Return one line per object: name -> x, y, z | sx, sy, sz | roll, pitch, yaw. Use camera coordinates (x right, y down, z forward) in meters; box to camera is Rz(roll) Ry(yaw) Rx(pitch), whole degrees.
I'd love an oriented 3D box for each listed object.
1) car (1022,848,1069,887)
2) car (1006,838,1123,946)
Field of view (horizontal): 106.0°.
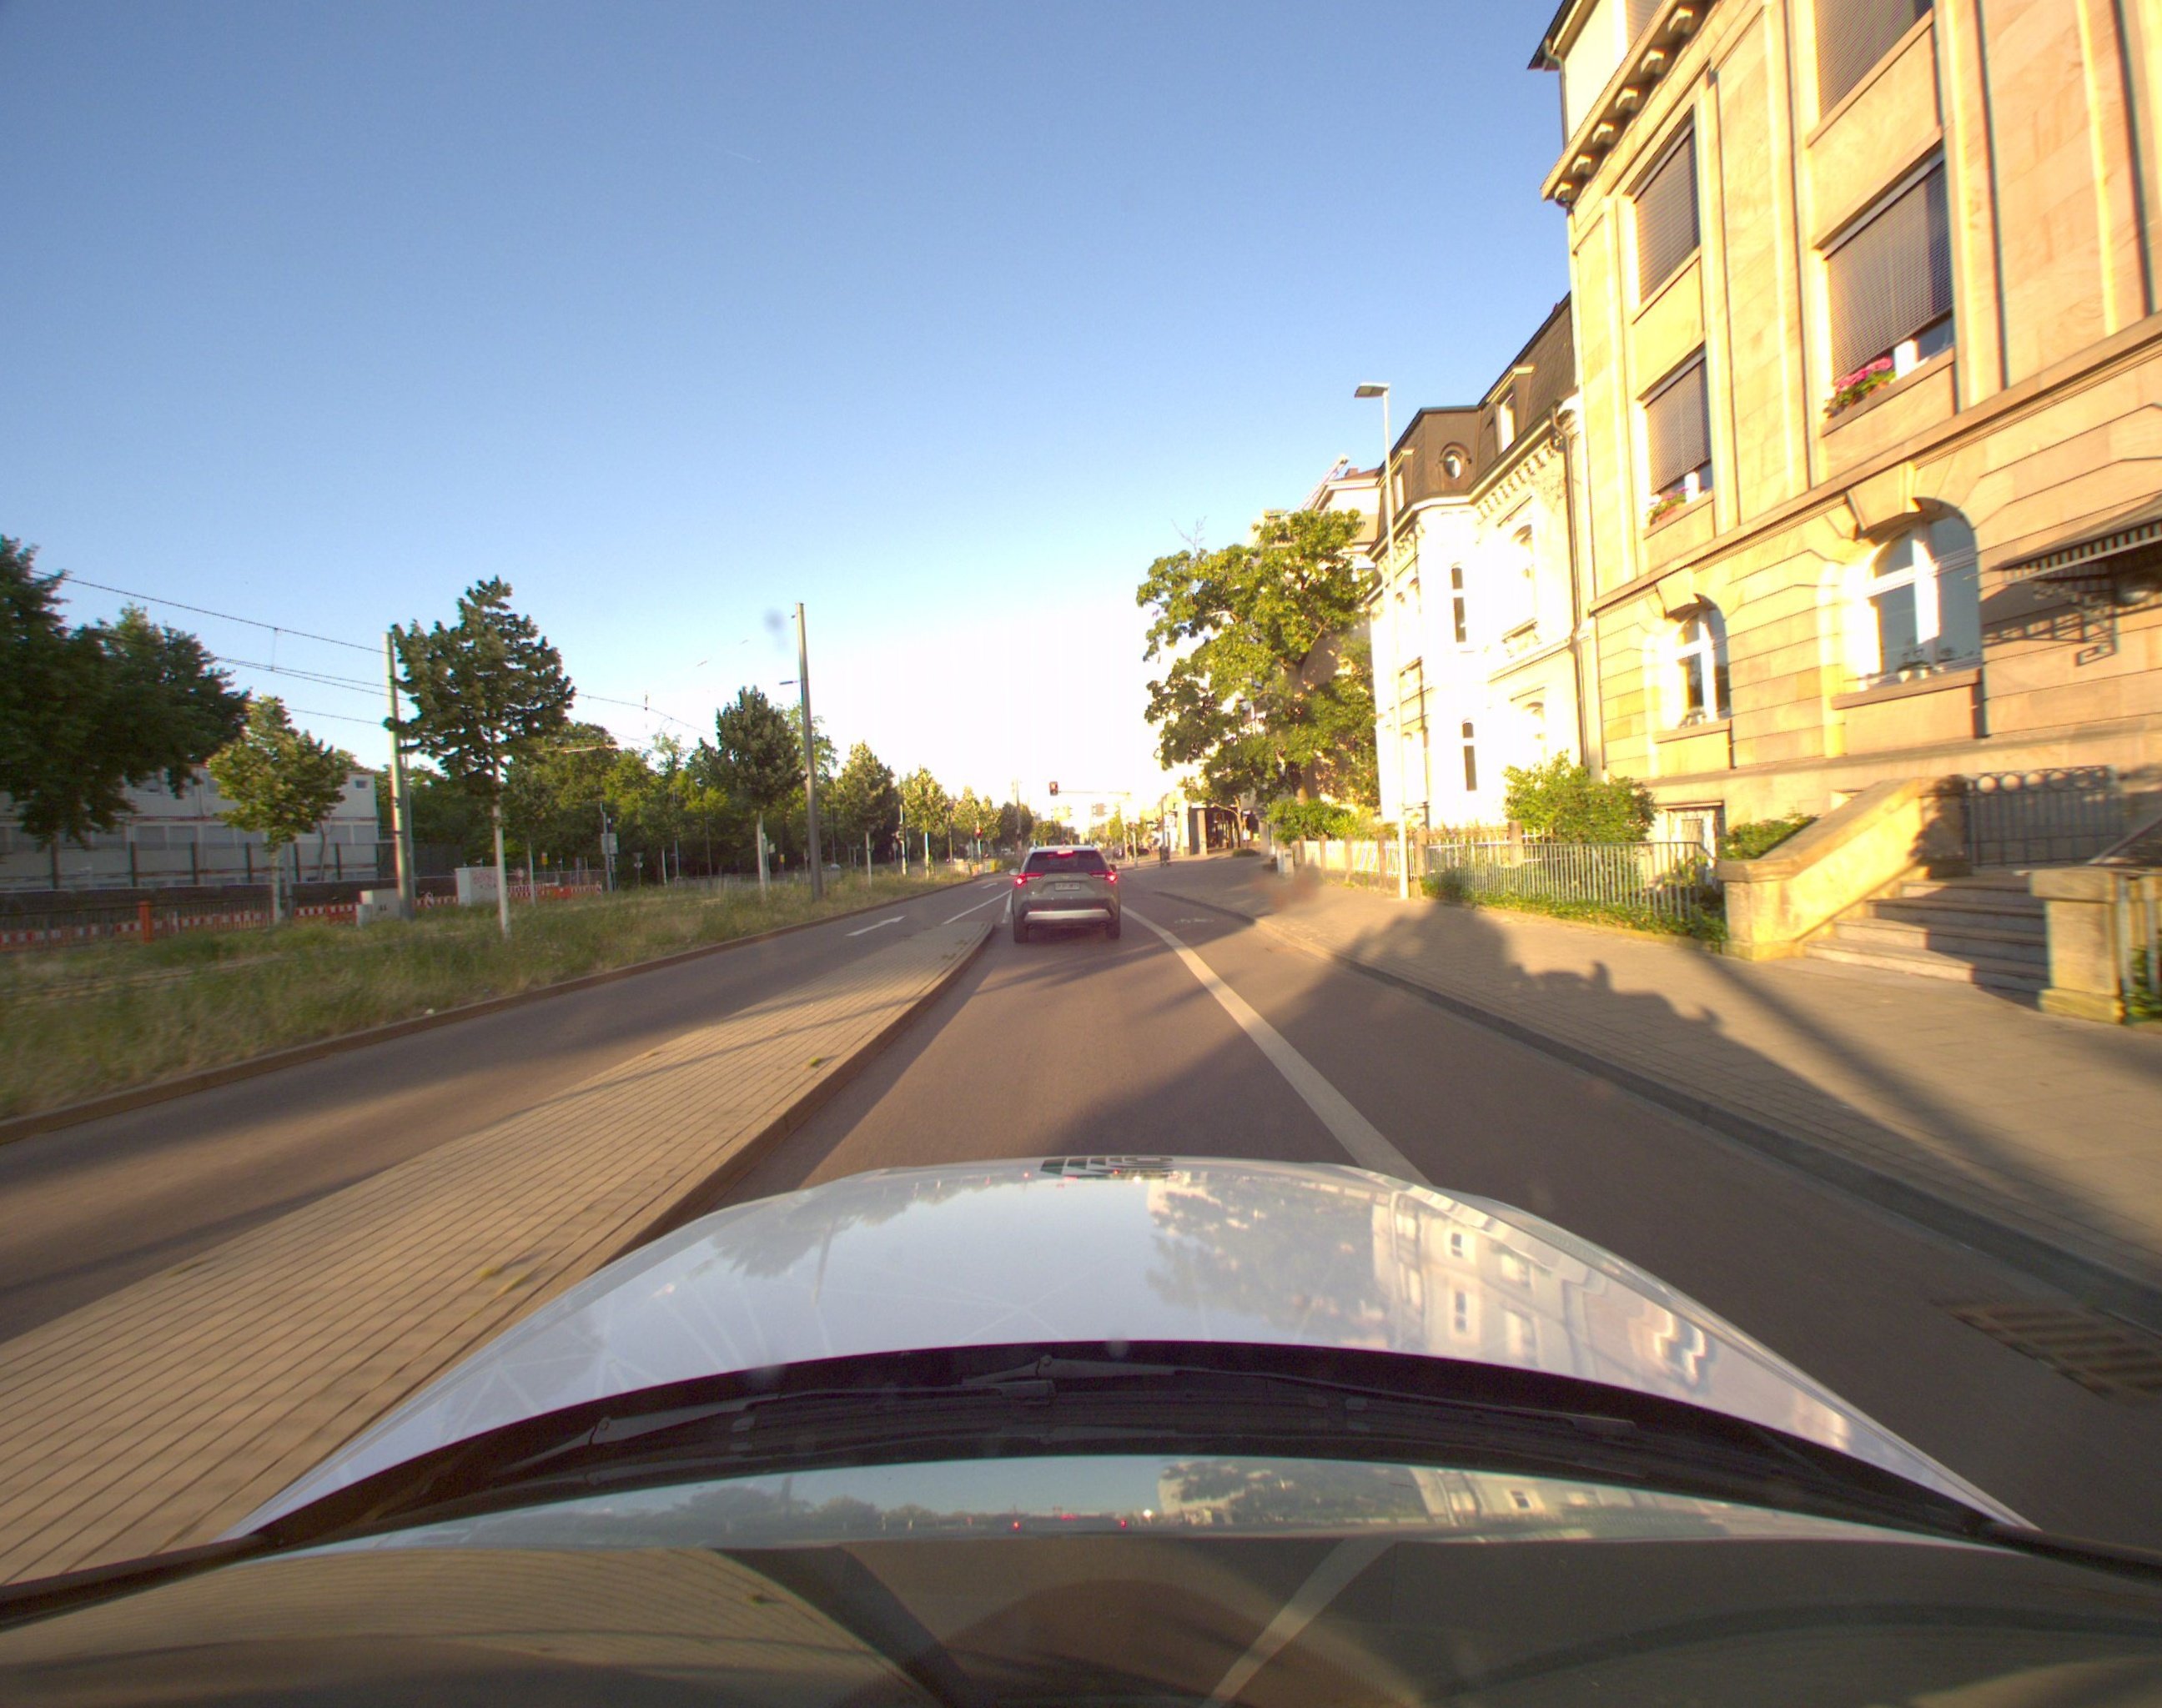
car -> -1.486, 0.540, 35.849 | 1.852, 1.551, 4.109 | -1, 1, 0
car -> -0.267, 0.588, 15.253 | 1.852, 1.714, 4.192 | -1, 1, 0
